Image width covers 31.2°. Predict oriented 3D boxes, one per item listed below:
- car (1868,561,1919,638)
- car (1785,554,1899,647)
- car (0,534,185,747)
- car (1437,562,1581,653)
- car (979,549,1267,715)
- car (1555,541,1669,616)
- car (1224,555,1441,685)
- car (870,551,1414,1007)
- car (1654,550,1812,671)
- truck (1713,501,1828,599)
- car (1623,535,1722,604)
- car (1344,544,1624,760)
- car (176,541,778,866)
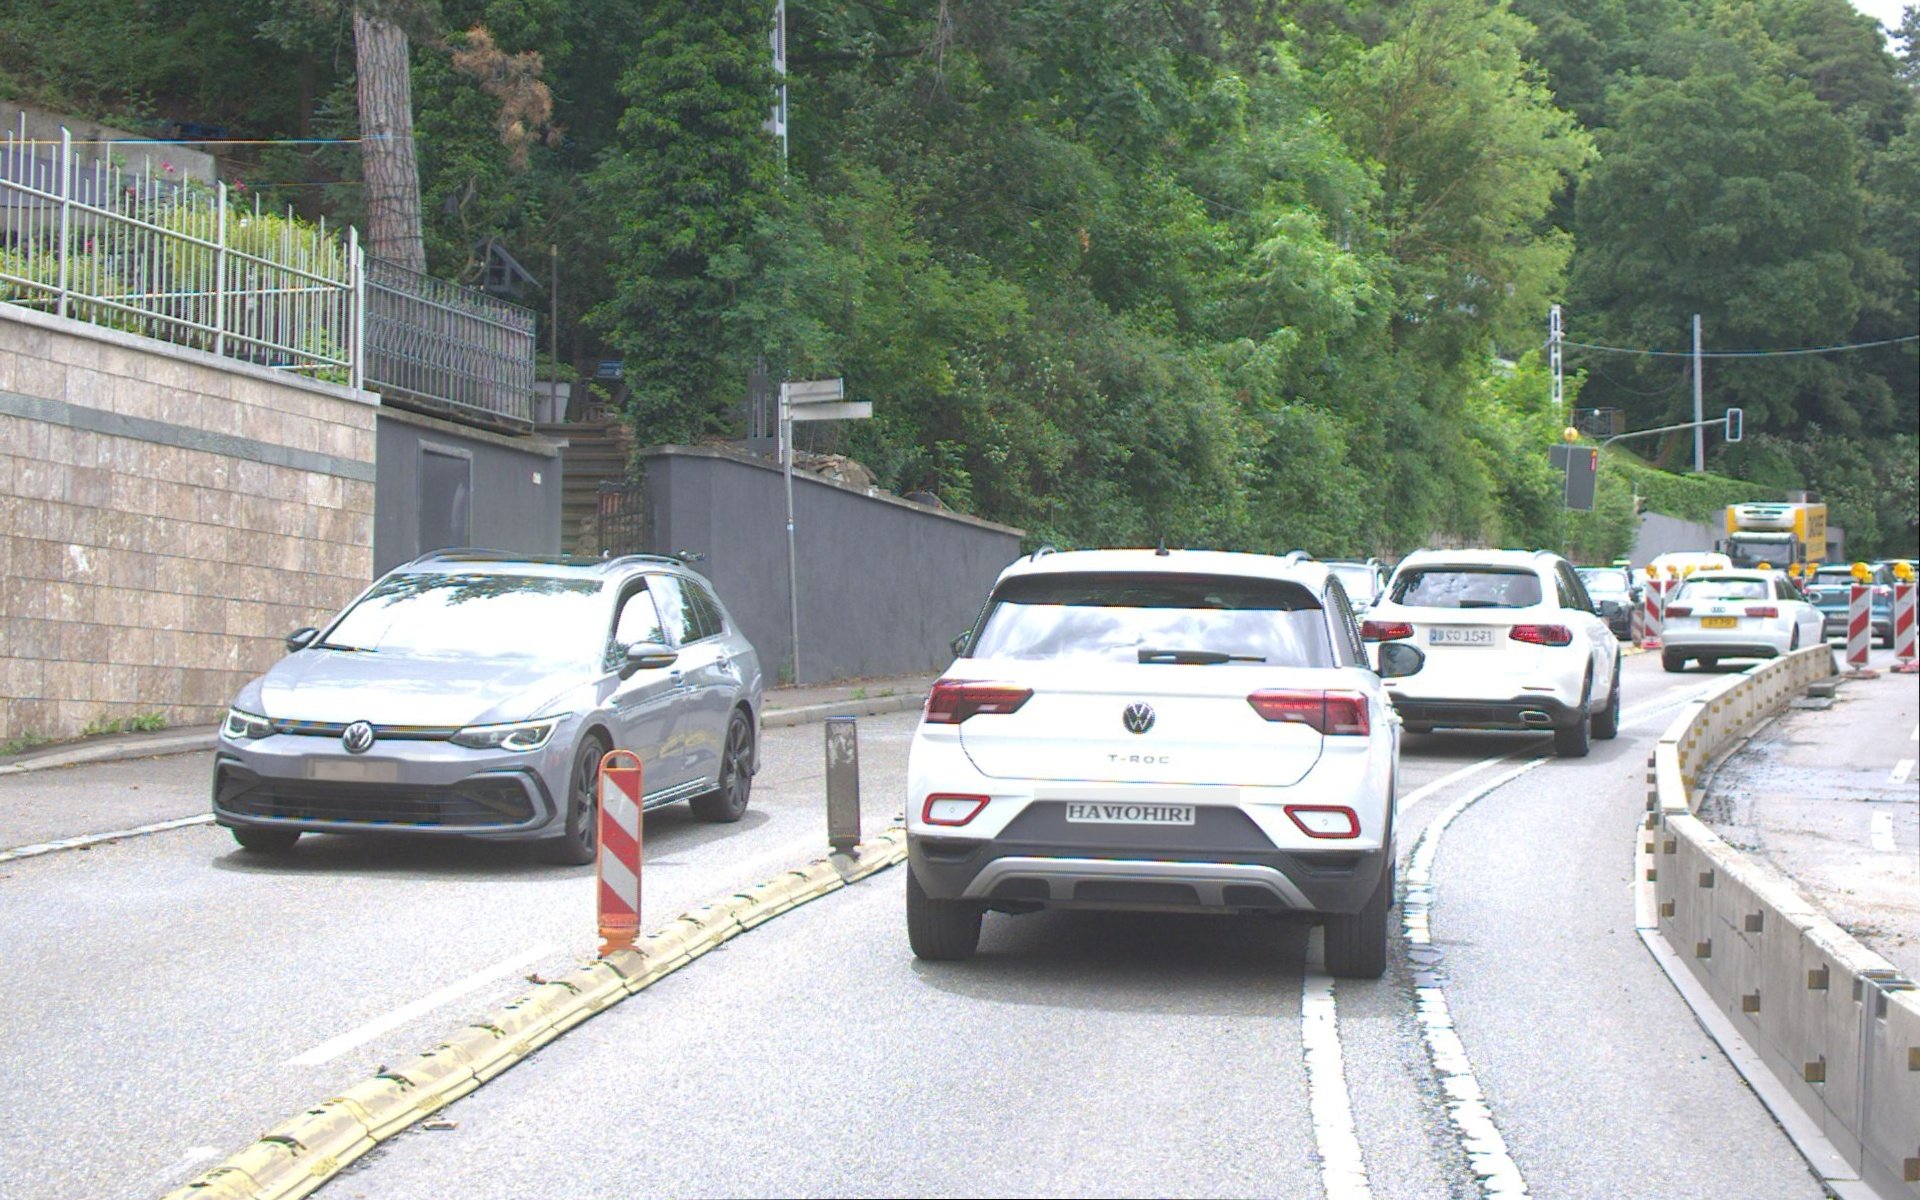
[{"bbox_3d":[21.120,-0.033,76.024,1.811,1.657,3.997,0,1,18],"label":"car"},{"bbox_3d":[16.344,-0.023,63.599,1.811,1.657,3.997,0,1,18],"label":"car"},{"bbox_3d":[-7.192,0.266,24.278,1.783,1.448,3.699,2,-1,15],"label":"car"},{"bbox_3d":[9.557,0.114,59.650,1.769,1.447,4.305,3,1,18],"label":"car"},{"bbox_3d":[1.660,0.270,33.446,1.769,1.430,4.305,3,1,16],"label":"car"},{"bbox_3d":[13.726,-0.450,72.258,1.769,1.447,4.305,3,1,18],"label":"car"},{"bbox_3d":[4.666,0.224,42.580,1.769,1.447,4.305,3,1,18],"label":"car"},{"bbox_3d":[0.878,0.589,13.818,1.810,1.526,3.999,1,1,8],"label":"car"},{"bbox_3d":[11.182,0.117,49.587,1.811,1.657,3.996,0,1,19],"label":"car"},{"bbox_3d":[26.872,-1.613,113.784,2.907,3.144,7.577,1,0,19],"label":"truck"},{"bbox_3d":[16.217,-0.696,78.117,1.769,1.447,4.305,3,1,17],"label":"car"},{"bbox_3d":[4.417,0.367,28.537,1.811,1.657,3.997,0,1,16],"label":"car"},{"bbox_3d":[-2.314,0.443,17.673,1.768,1.430,4.307,1,1,11],"label":"car"}]
